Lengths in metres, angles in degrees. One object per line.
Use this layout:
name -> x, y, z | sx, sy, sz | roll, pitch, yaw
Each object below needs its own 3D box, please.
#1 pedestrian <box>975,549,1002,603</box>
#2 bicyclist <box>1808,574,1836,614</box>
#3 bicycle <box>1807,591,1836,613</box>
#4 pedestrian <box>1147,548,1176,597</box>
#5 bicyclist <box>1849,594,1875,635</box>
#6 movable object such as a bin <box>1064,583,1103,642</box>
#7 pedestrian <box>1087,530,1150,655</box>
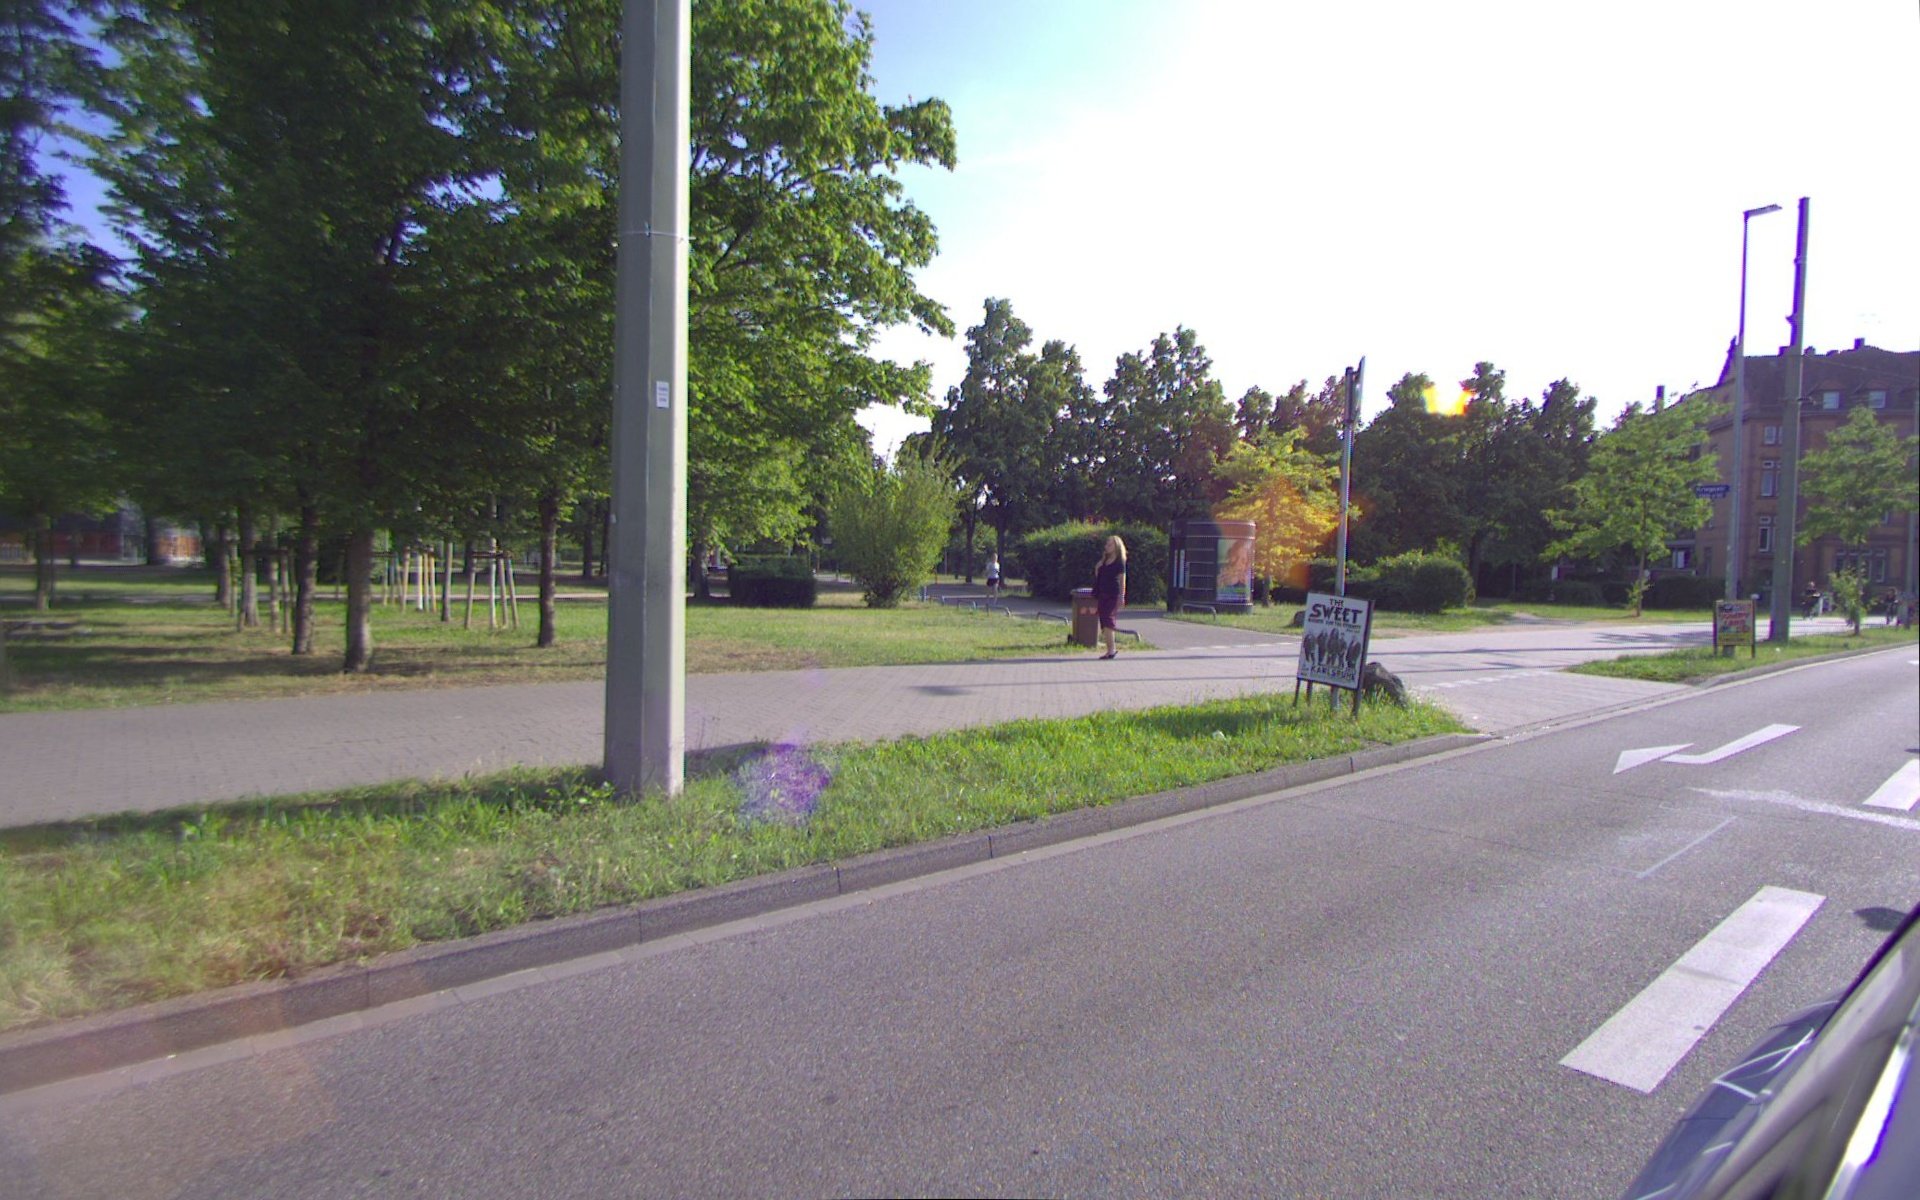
pedestrian -> 0.881, -0.753, 31.466 | 0.609, 1.671, 0.664 | 1, 2, -15
bicyclist -> 39.297, -0.271, 46.134 | 1.099, 1.795, 0.753 | 0, 2, -42
bicycle -> 39.229, 0.086, 46.075 | 2.059, 0.929, 0.739 | 0, 3, -42
pedestrian -> 9.093, -1.233, 45.706 | 0.872, 2.184, 0.914 | 1, 2, -28
bicyclist -> 40.482, 0.627, 45.414 | 0.998, 1.795, 0.730 | 0, 2, -42
movable object such as a bin -> 1.975, 0.192, 16.182 | 0.514, 0.915, 0.504 | 1, 2, -2
pedestrian -> 2.251, -0.111, 14.347 | 0.651, 1.721, 0.558 | 0, 2, -41
